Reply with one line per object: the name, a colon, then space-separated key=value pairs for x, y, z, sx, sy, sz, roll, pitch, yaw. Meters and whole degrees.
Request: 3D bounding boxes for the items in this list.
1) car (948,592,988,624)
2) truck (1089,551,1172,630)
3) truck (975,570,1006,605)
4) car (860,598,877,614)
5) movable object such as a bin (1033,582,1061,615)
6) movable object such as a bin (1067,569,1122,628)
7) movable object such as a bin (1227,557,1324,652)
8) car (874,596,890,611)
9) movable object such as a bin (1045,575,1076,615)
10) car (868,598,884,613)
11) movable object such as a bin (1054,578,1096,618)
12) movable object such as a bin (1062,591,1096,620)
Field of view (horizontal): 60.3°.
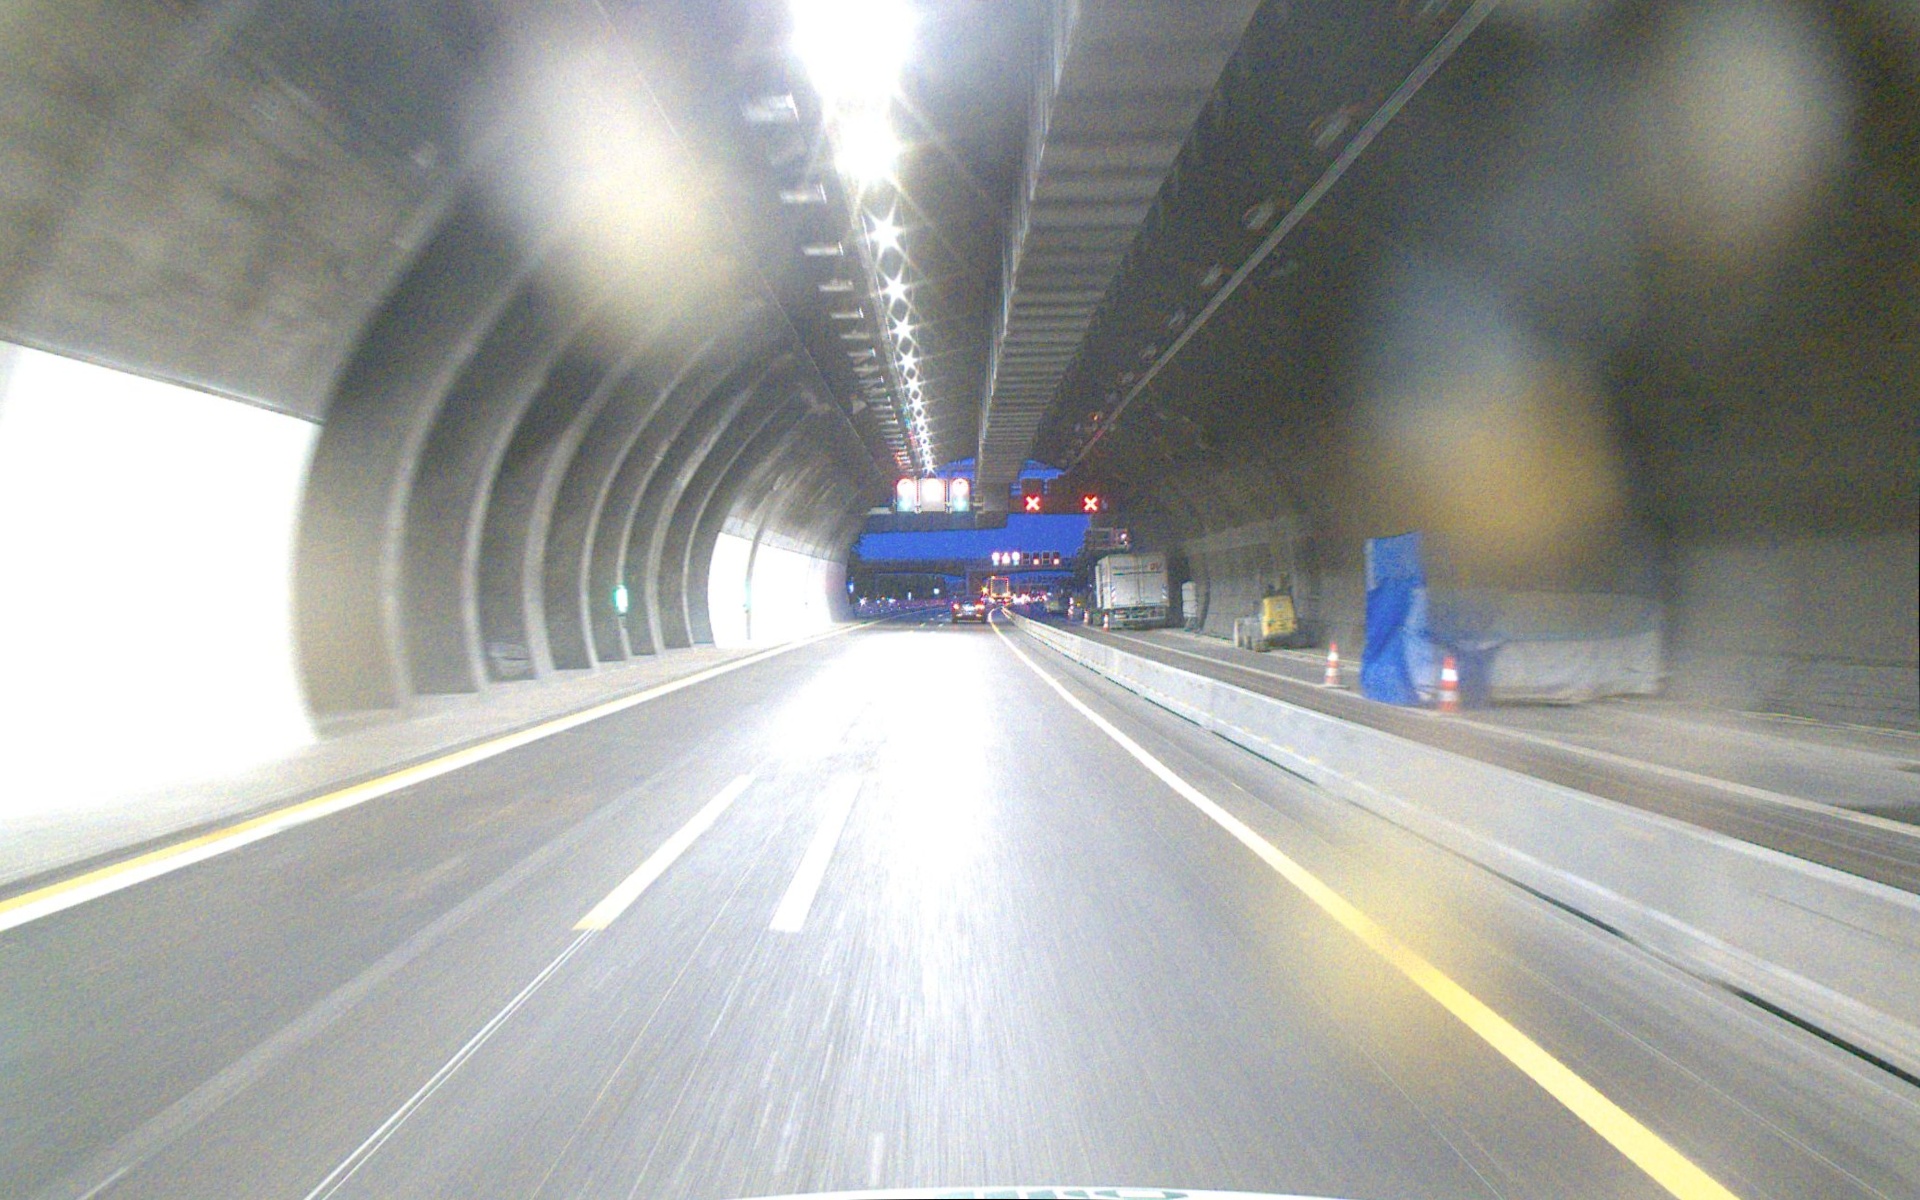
car: x=0.404 y=0.430 z=87.784 sx=1.850 sy=1.635 sz=3.997 roll=1 pitch=0 yaw=-3
truck: x=7.599 y=-0.408 z=74.715 sx=2.833 sy=3.329 sz=8.400 roll=1 pitch=0 yaw=0
truck: x=4.572 y=-1.871 z=245.887 sx=4.452 sy=5.074 sz=9.600 roll=1 pitch=0 yaw=1
car: x=-11.856 y=0.760 z=215.300 sx=1.953 sy=2.049 sz=4.000 roll=1 pitch=0 yaw=0
movable object such as a bin: x=9.412 y=-0.154 z=179.265 sx=2.681 sy=3.516 sz=6.947 roll=1 pitch=0 yaw=1
movable object such as a bin: x=6.799 y=-0.074 z=84.231 sx=2.192 sy=2.843 sz=7.232 roll=1 pitch=0 yaw=0
movable object such as a bin: x=8.650 y=0.113 z=45.654 sx=1.721 sy=2.421 sz=3.999 roll=-3 pitch=0 yaw=-1
car: x=-10.928 y=0.483 z=232.327 sx=1.953 sy=2.049 sz=4.000 roll=1 pitch=0 yaw=0
movable object such as a bin: x=9.698 y=-0.491 z=160.105 sx=2.681 sy=3.743 sz=6.334 roll=1 pitch=0 yaw=1
car: x=-11.449 y=0.793 z=225.396 sx=1.953 sy=2.049 sz=4.000 roll=1 pitch=0 yaw=0
movable object such as a bin: x=8.353 y=-0.149 z=120.709 sx=2.681 sy=2.802 sz=7.050 roll=1 pitch=0 yaw=1
movable object such as a bin: x=7.741 y=0.378 z=108.003 sx=1.938 sy=1.847 sz=3.836 roll=1 pitch=0 yaw=0
